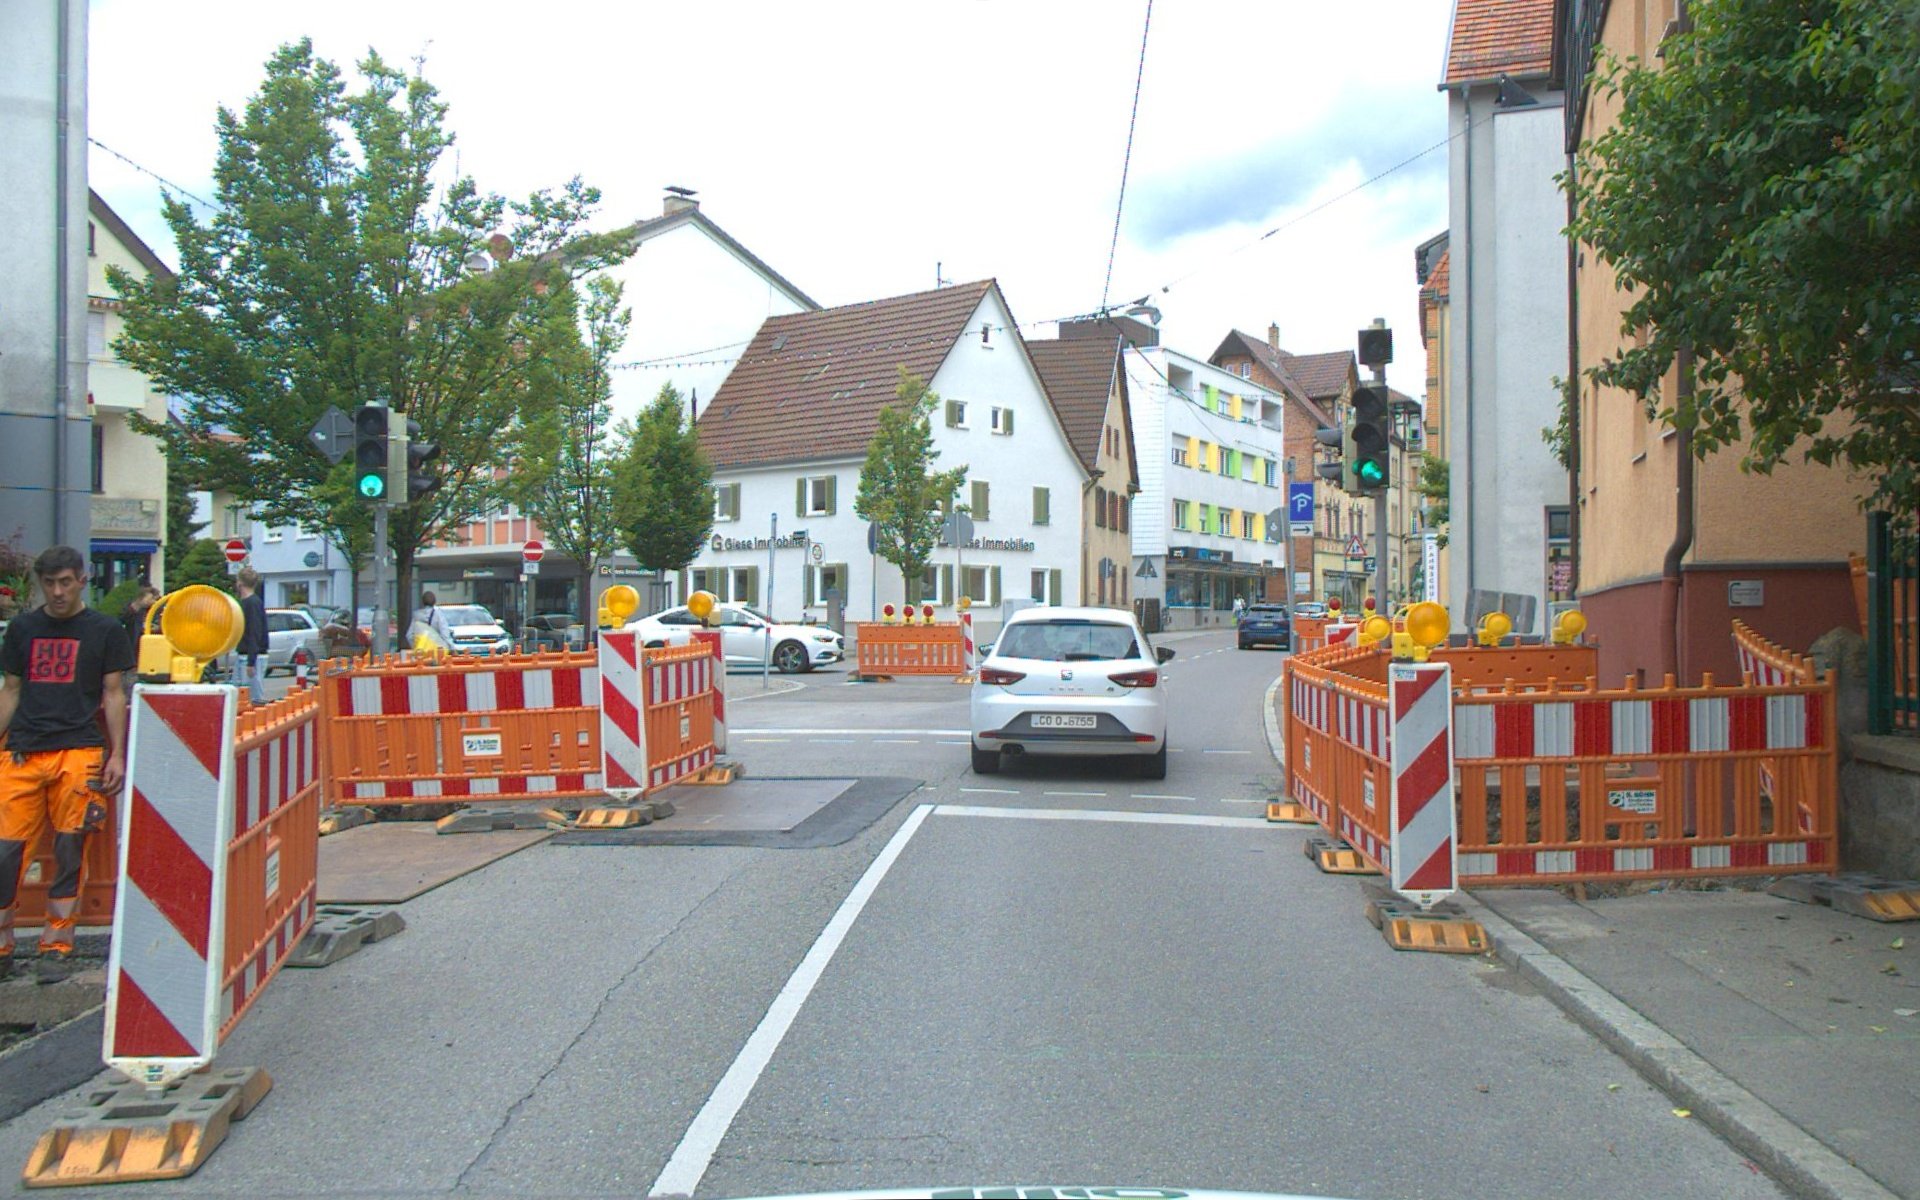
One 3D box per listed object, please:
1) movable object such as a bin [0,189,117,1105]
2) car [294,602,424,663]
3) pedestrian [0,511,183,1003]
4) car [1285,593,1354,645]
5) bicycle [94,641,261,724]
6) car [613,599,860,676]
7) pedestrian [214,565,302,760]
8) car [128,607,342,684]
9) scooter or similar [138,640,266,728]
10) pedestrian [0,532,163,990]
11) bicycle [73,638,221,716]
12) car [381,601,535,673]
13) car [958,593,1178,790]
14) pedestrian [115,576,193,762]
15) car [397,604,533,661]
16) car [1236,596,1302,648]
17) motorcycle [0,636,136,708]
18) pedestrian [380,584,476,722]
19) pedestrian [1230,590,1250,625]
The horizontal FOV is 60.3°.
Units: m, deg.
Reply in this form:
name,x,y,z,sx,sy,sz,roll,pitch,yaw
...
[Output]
name,x,y,z,sx,sy,sz,roll,pitch,yaw
movable object such as a bin,-3.878,0.126,3.510,1.801,2.812,4.506,-1,-1,1
car,-17.016,0.878,46.693,2.002,1.584,4.849,0,0,-39
pedestrian,-3.684,0.591,6.594,0.797,1.847,0.744,0,0,2
car,14.853,0.768,68.202,1.954,2.049,3.997,-1,0,25
bicycle,-11.865,1.230,25.127,2.136,1.064,0.738,-4,1,-45
car,-4.645,0.763,34.946,4.800,1.502,2.250,0,0,3
pedestrian,-7.257,0.628,17.127,0.803,1.959,0.779,0,0,-23
car,-17.088,1.040,39.170,1.957,1.668,4.319,-1,0,30
scooter or similar,-10.630,1.158,23.219,1.521,1.143,0.588,-1,0,-44
pedestrian,-3.586,0.625,6.643,0.526,1.774,0.444,-1,0,3
bicycle,-12.935,1.203,26.350,1.944,1.093,0.799,-3,1,-42
car,-12.219,0.836,40.035,2.000,1.584,4.853,0,0,-38
car,1.107,0.742,15.554,1.773,1.506,3.874,2,1,7
pedestrian,-8.129,0.674,16.699,0.683,1.822,0.712,0,0,-26
car,-15.143,0.951,50.456,2.006,1.584,4.840,0,0,-44
car,9.752,0.658,52.028,1.773,1.506,3.874,-1,1,14
motorcycle,-15.139,1.204,28.031,0.789,1.124,1.943,-2,0,43
pedestrian,-6.393,0.621,19.911,0.667,1.620,0.878,-1,0,25
pedestrian,13.862,0.376,81.810,0.873,1.694,0.862,-1,0,14
